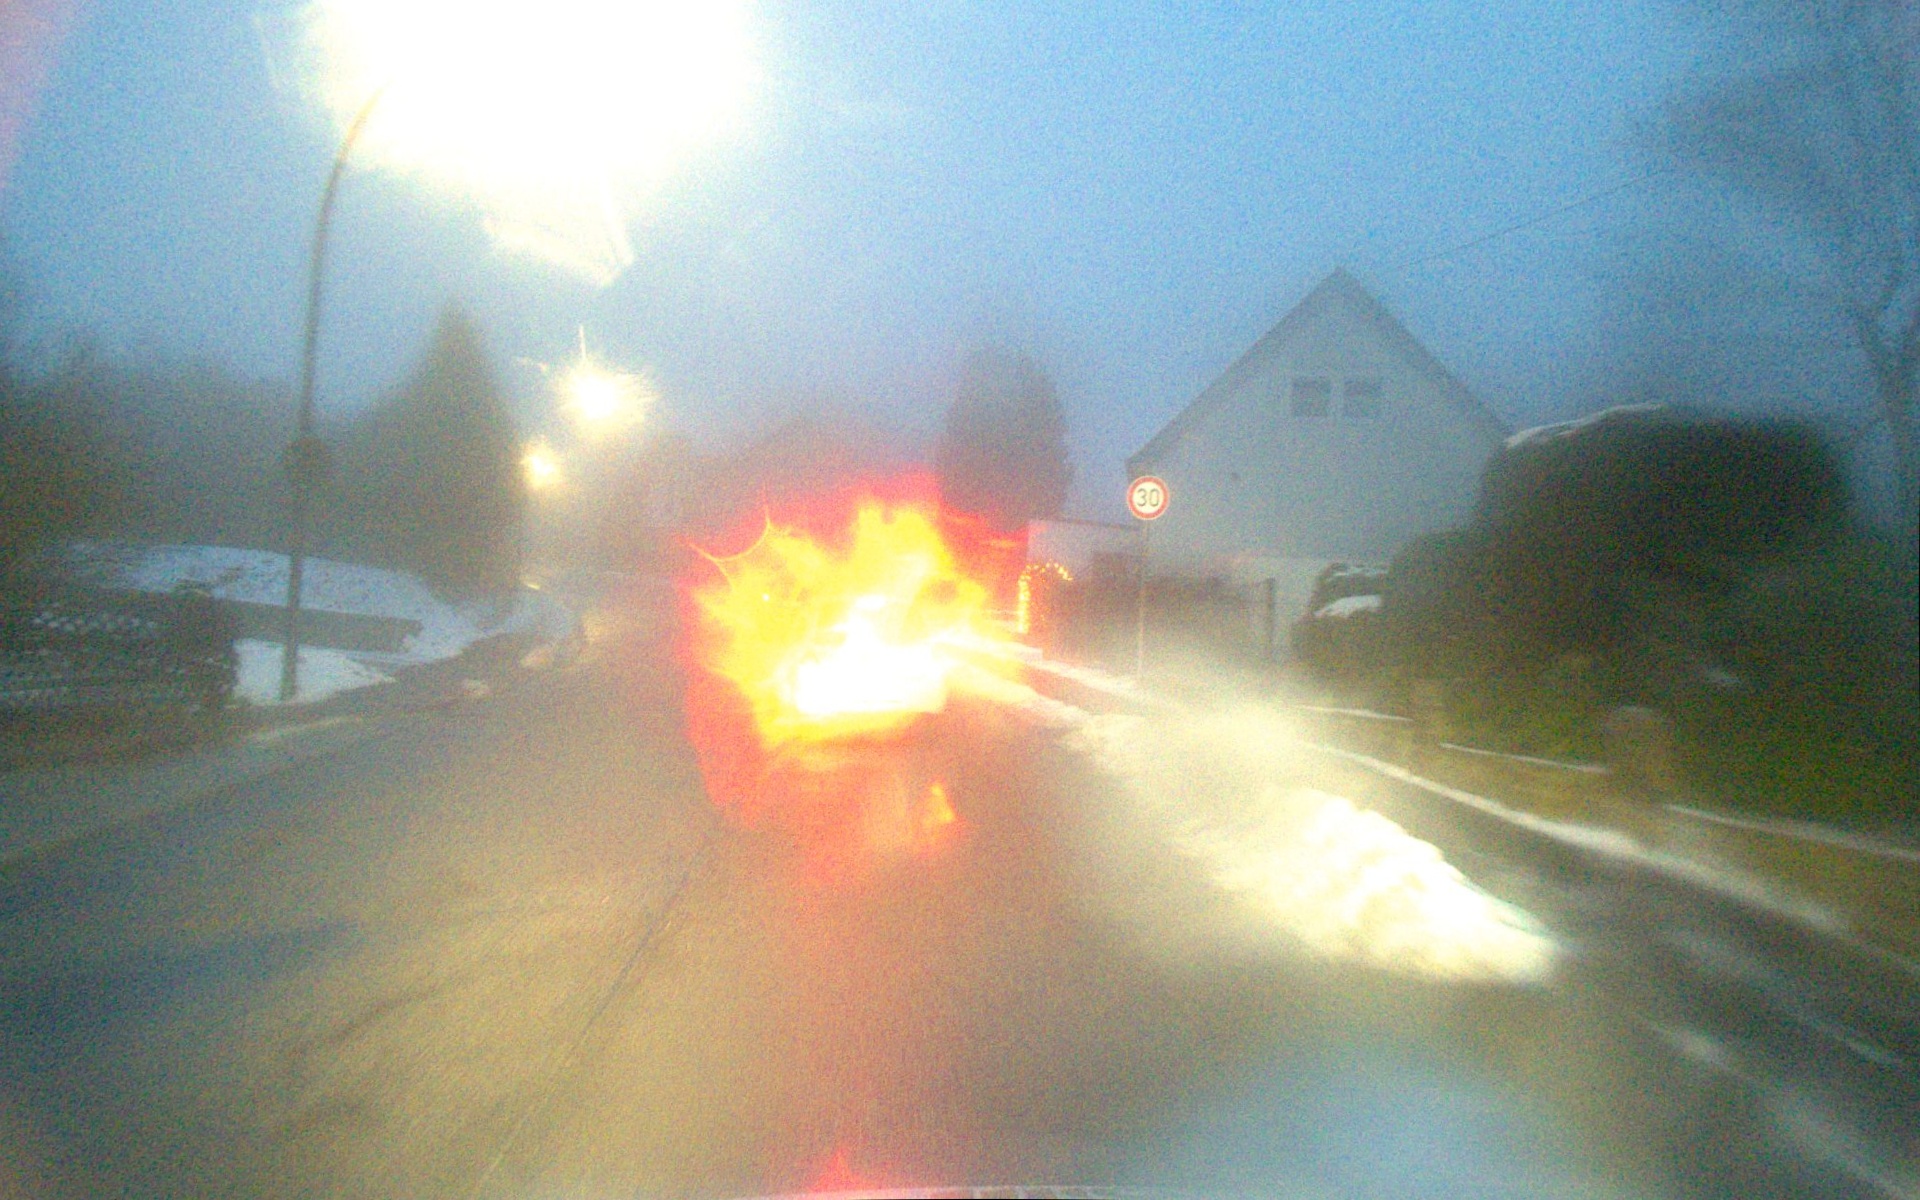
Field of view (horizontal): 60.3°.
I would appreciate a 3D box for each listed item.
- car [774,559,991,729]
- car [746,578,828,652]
[{"bbox_3d":[-0.969,0.465,18.115,1.863,1.637,3.989,0,-1,-10],"label":"car"},{"bbox_3d":[-4.366,0.392,41.717,1.955,1.767,3.873,0,-1,-6],"label":"car"}]
